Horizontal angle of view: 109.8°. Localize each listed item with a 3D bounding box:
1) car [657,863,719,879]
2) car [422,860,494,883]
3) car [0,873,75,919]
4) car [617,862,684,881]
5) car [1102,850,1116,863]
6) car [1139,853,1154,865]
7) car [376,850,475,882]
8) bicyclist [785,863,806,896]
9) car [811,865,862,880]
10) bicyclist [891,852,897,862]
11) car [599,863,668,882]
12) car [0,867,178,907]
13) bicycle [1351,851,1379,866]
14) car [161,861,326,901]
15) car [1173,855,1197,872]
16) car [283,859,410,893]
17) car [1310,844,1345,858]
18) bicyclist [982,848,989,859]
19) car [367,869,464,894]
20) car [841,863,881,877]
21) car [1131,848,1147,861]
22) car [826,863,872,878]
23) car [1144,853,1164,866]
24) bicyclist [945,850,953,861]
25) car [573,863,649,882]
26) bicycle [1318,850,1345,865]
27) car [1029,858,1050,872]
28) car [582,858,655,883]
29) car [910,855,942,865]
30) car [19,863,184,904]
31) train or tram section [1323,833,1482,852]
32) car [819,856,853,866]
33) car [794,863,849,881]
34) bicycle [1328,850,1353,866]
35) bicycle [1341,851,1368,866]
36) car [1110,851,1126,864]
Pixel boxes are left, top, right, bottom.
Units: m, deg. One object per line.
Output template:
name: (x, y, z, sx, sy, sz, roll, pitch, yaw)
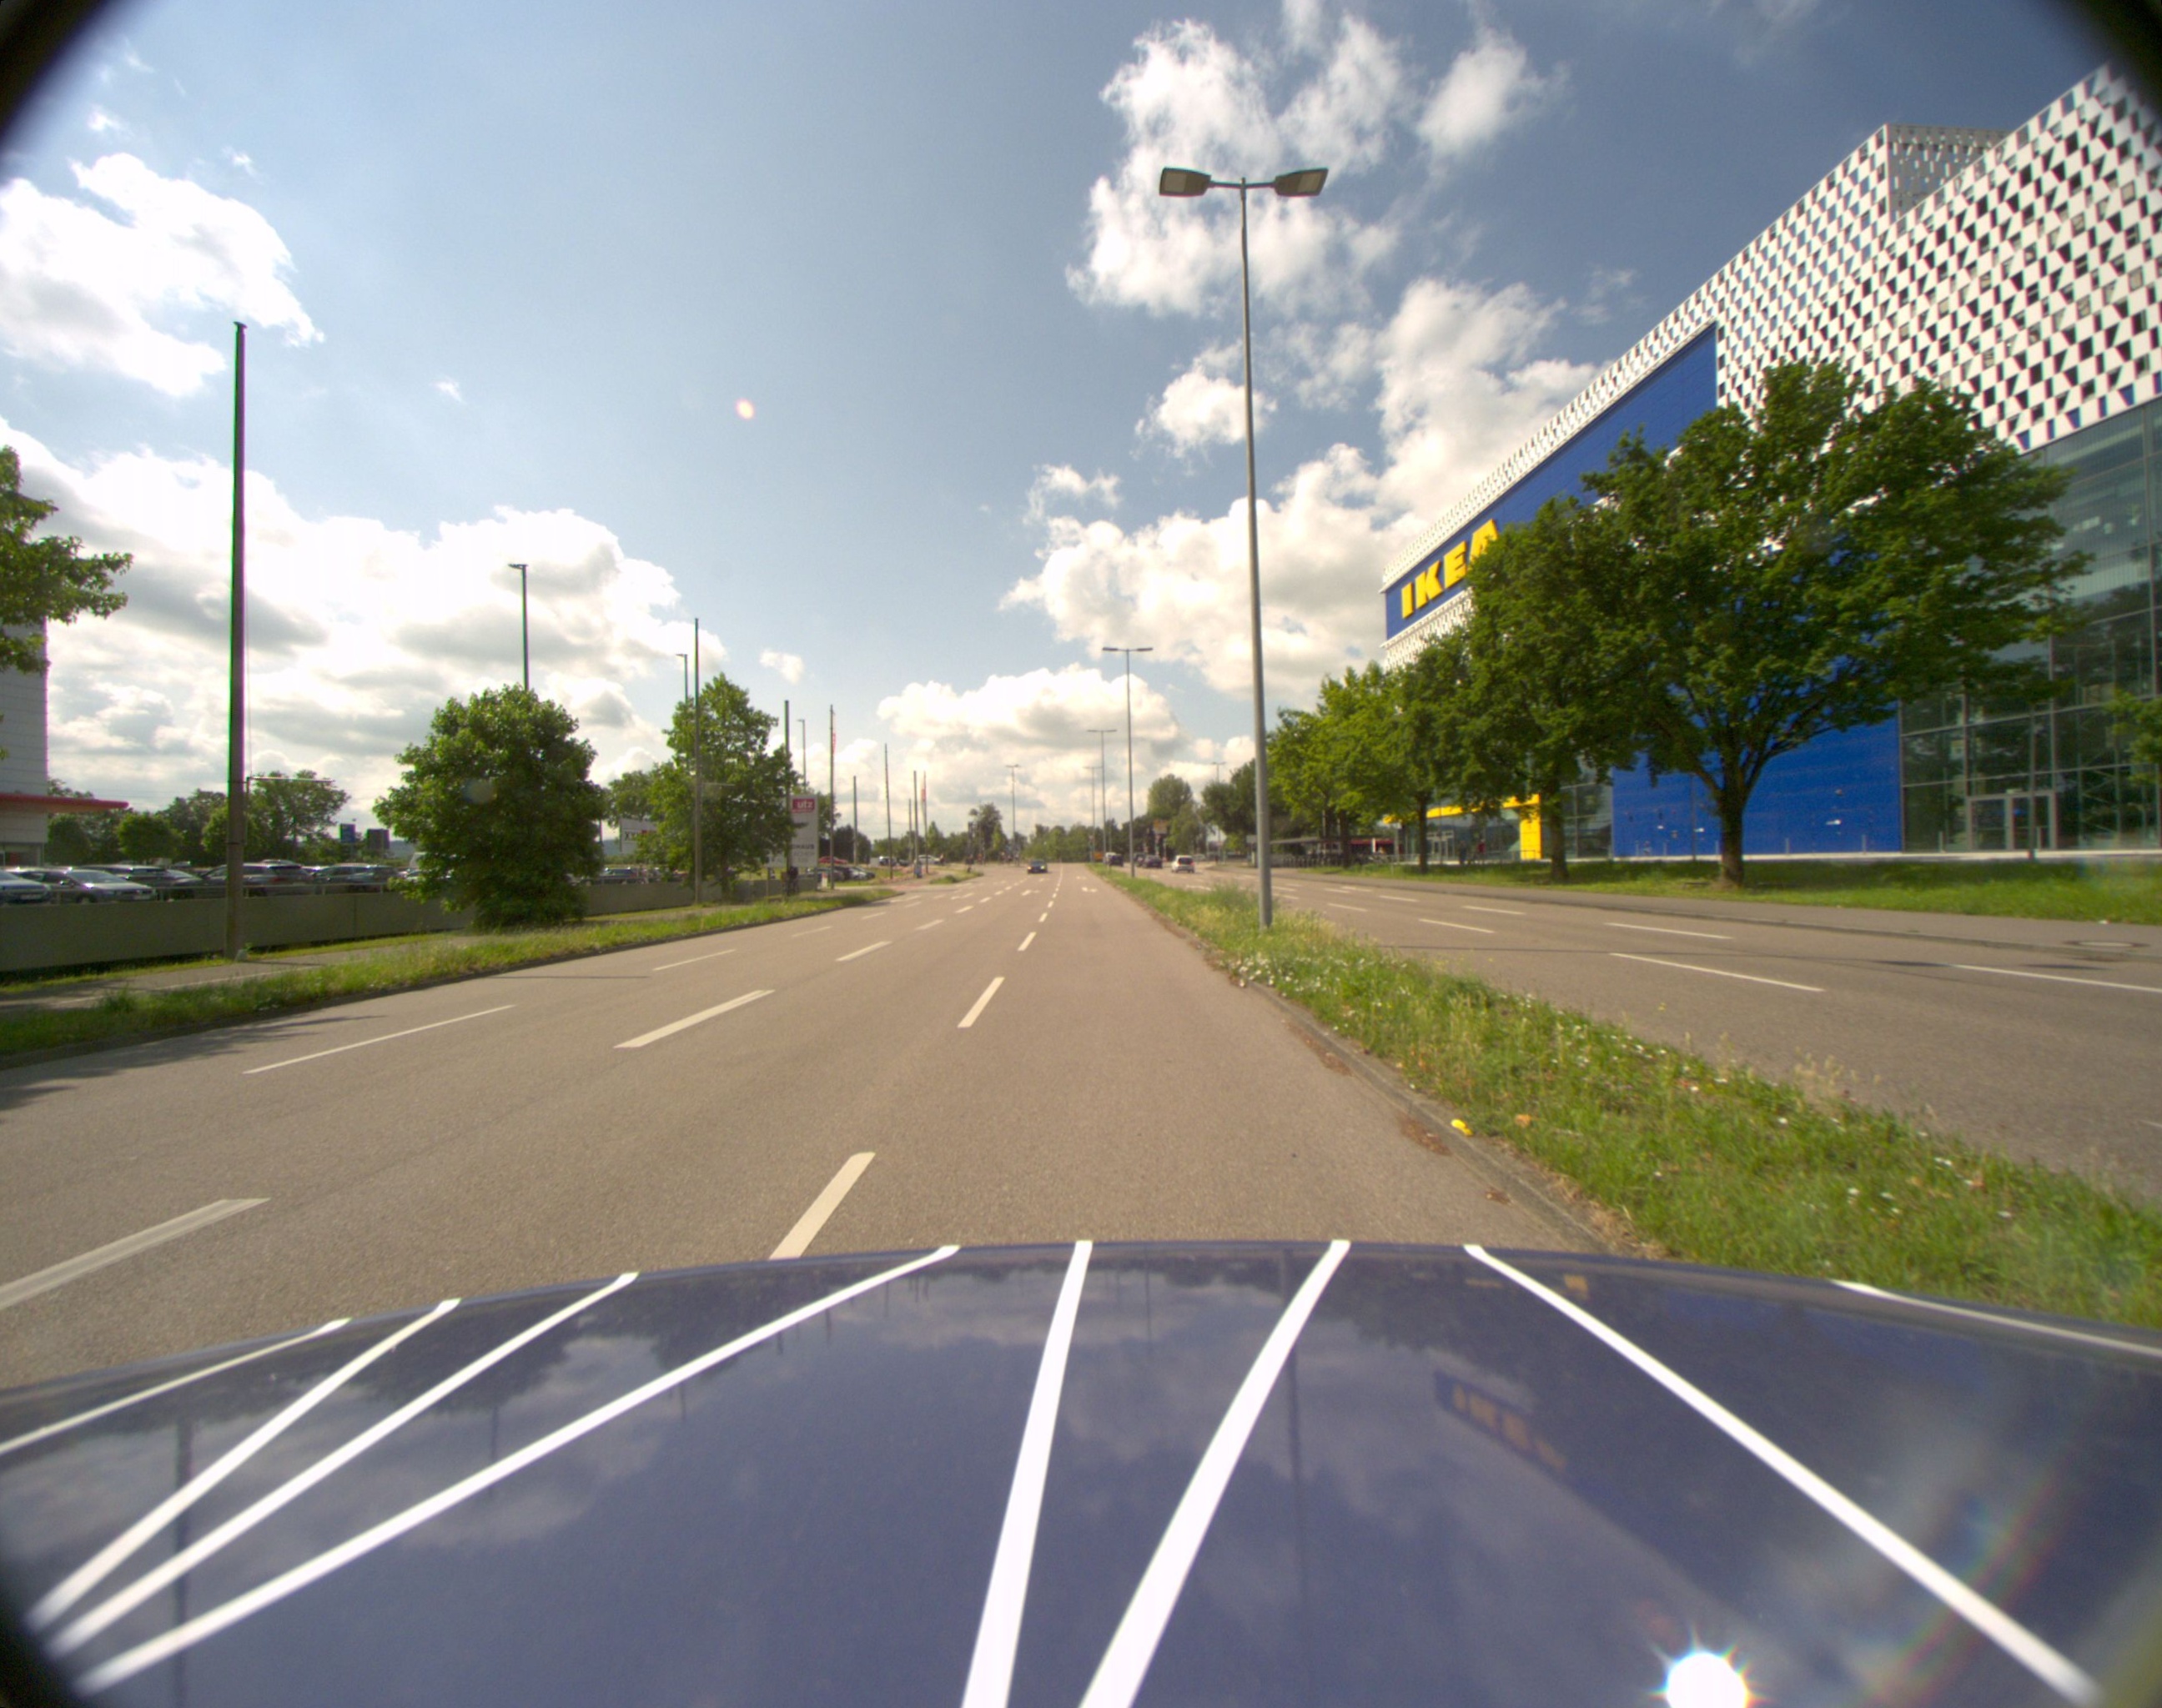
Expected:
car: (-33.903, 1.511, 65.640, 4.369, 1.354, 1.847, 0, -1, 1)
car: (-49.693, 1.384, 60.666, 3.996, 1.729, 2.000, -1, 1, 1)
car: (-34.333, 1.281, 23.486, 4.194, 1.317, 1.688, 0, 0, -1)
car: (-34.234, 1.373, 60.437, 4.369, 1.499, 1.682, 0, 0, 1)
car: (3.862, 0.342, 105.462, 1.712, 1.610, 4.376, 0, 1, -2)
car: (7.750, 0.544, 90.531, 1.415, 1.383, 4.095, 1, 1, -1)
car: (-69.504, 1.249, 80.651, 7.898, 3.136, 3.122, -1, 1, 2)
bicyclist: (-12.475, 1.117, 33.162, 0.617, 1.404, 0.715, -1, 0, 0)
car: (-24.290, 1.836, 75.630, 4.370, 1.408, 1.856, -1, 0, 0)
bicyclist: (-24.592, 0.384, 99.739, 0.688, 1.317, 0.592, -2, 0, -15)
car: (-34.197, 1.437, 58.112, 4.369, 1.433, 1.627, 0, -1, 1)
car: (-34.389, 1.103, 26.163, 4.370, 1.317, 1.764, 0, -1, -2)
bicycle: (22.539, 0.358, 60.380, 1.930, 1.177, 0.629, -2, 0, -1)
car: (-33.885, 1.082, 30.858, 4.370, 1.565, 2.030, 0, -1, -2)
car: (8.967, 0.763, 65.880, 1.647, 1.420, 3.670, 0, 0, 1)
car: (-34.500, 1.023, 35.791, 4.193, 1.543, 1.764, 0, -1, -2)
car: (38.342, -0.519, 118.263, 4.821, 2.001, 1.999, -2, 0, -4)
bicyclist: (-13.334, -0.101, 106.174, 0.698, 1.526, 0.619, -2, 0, -22)
car: (-40.162, 1.677, 45.937, 4.300, 1.419, 1.760, -1, -2, 0)
car: (-24.784, 1.820, 85.562, 3.998, 1.410, 1.715, -1, 1, -2)
car: (7.909, 0.046, 103.251, 1.775, 1.606, 3.998, 1, 1, -1)
car: (-24.672, 1.733, 80.931, 4.370, 1.431, 1.796, -2, 0, 0)
car: (7.986, 0.592, 83.487, 1.668, 1.413, 4.518, 1, 0, -1)
bicyclist: (-18.002, 0.157, 103.355, 0.649, 1.466, 0.744, -2, 0, 43)
car: (-34.276, 1.327, 55.506, 4.369, 1.354, 1.847, 0, -1, 1)
bicycle: (20.235, 0.298, 61.375, 1.930, 1.176, 0.629, -2, 0, -1)
car: (-4.270, 1.112, 78.860, 1.797, 1.311, 4.163, -3, 0, 2)
car: (-32.477, 1.153, 53.404, 4.026, 1.578, 1.695, -1, -1, -2)
car: (-23.016, 0.851, 113.061, 4.495, 1.405, 2.013, -1, 0, -4)
car: (-39.448, 1.171, 30.682, 4.251, 1.455, 1.760, -2, -1, -2)
train or tram section: (54.155, -1.964, 128.384, 25.115, 3.014, 4.530, 0, 0, -2)
car: (-33.962, 0.960, 105.427, 4.248, 1.352, 1.748, 0, 1, -5)
car: (-24.151, 1.684, 70.859, 4.369, 1.468, 1.857, -2, 0, 1)
bicycle: (22.300, 0.341, 65.297, 1.930, 1.265, 0.629, -2, 0, -1)
bicycle: (22.447, 0.385, 62.352, 1.930, 1.172, 0.629, -2, 0, -1)
car: (4.504, 0.430, 92.669, 1.608, 1.485, 4.131, 0, 1, -1)
